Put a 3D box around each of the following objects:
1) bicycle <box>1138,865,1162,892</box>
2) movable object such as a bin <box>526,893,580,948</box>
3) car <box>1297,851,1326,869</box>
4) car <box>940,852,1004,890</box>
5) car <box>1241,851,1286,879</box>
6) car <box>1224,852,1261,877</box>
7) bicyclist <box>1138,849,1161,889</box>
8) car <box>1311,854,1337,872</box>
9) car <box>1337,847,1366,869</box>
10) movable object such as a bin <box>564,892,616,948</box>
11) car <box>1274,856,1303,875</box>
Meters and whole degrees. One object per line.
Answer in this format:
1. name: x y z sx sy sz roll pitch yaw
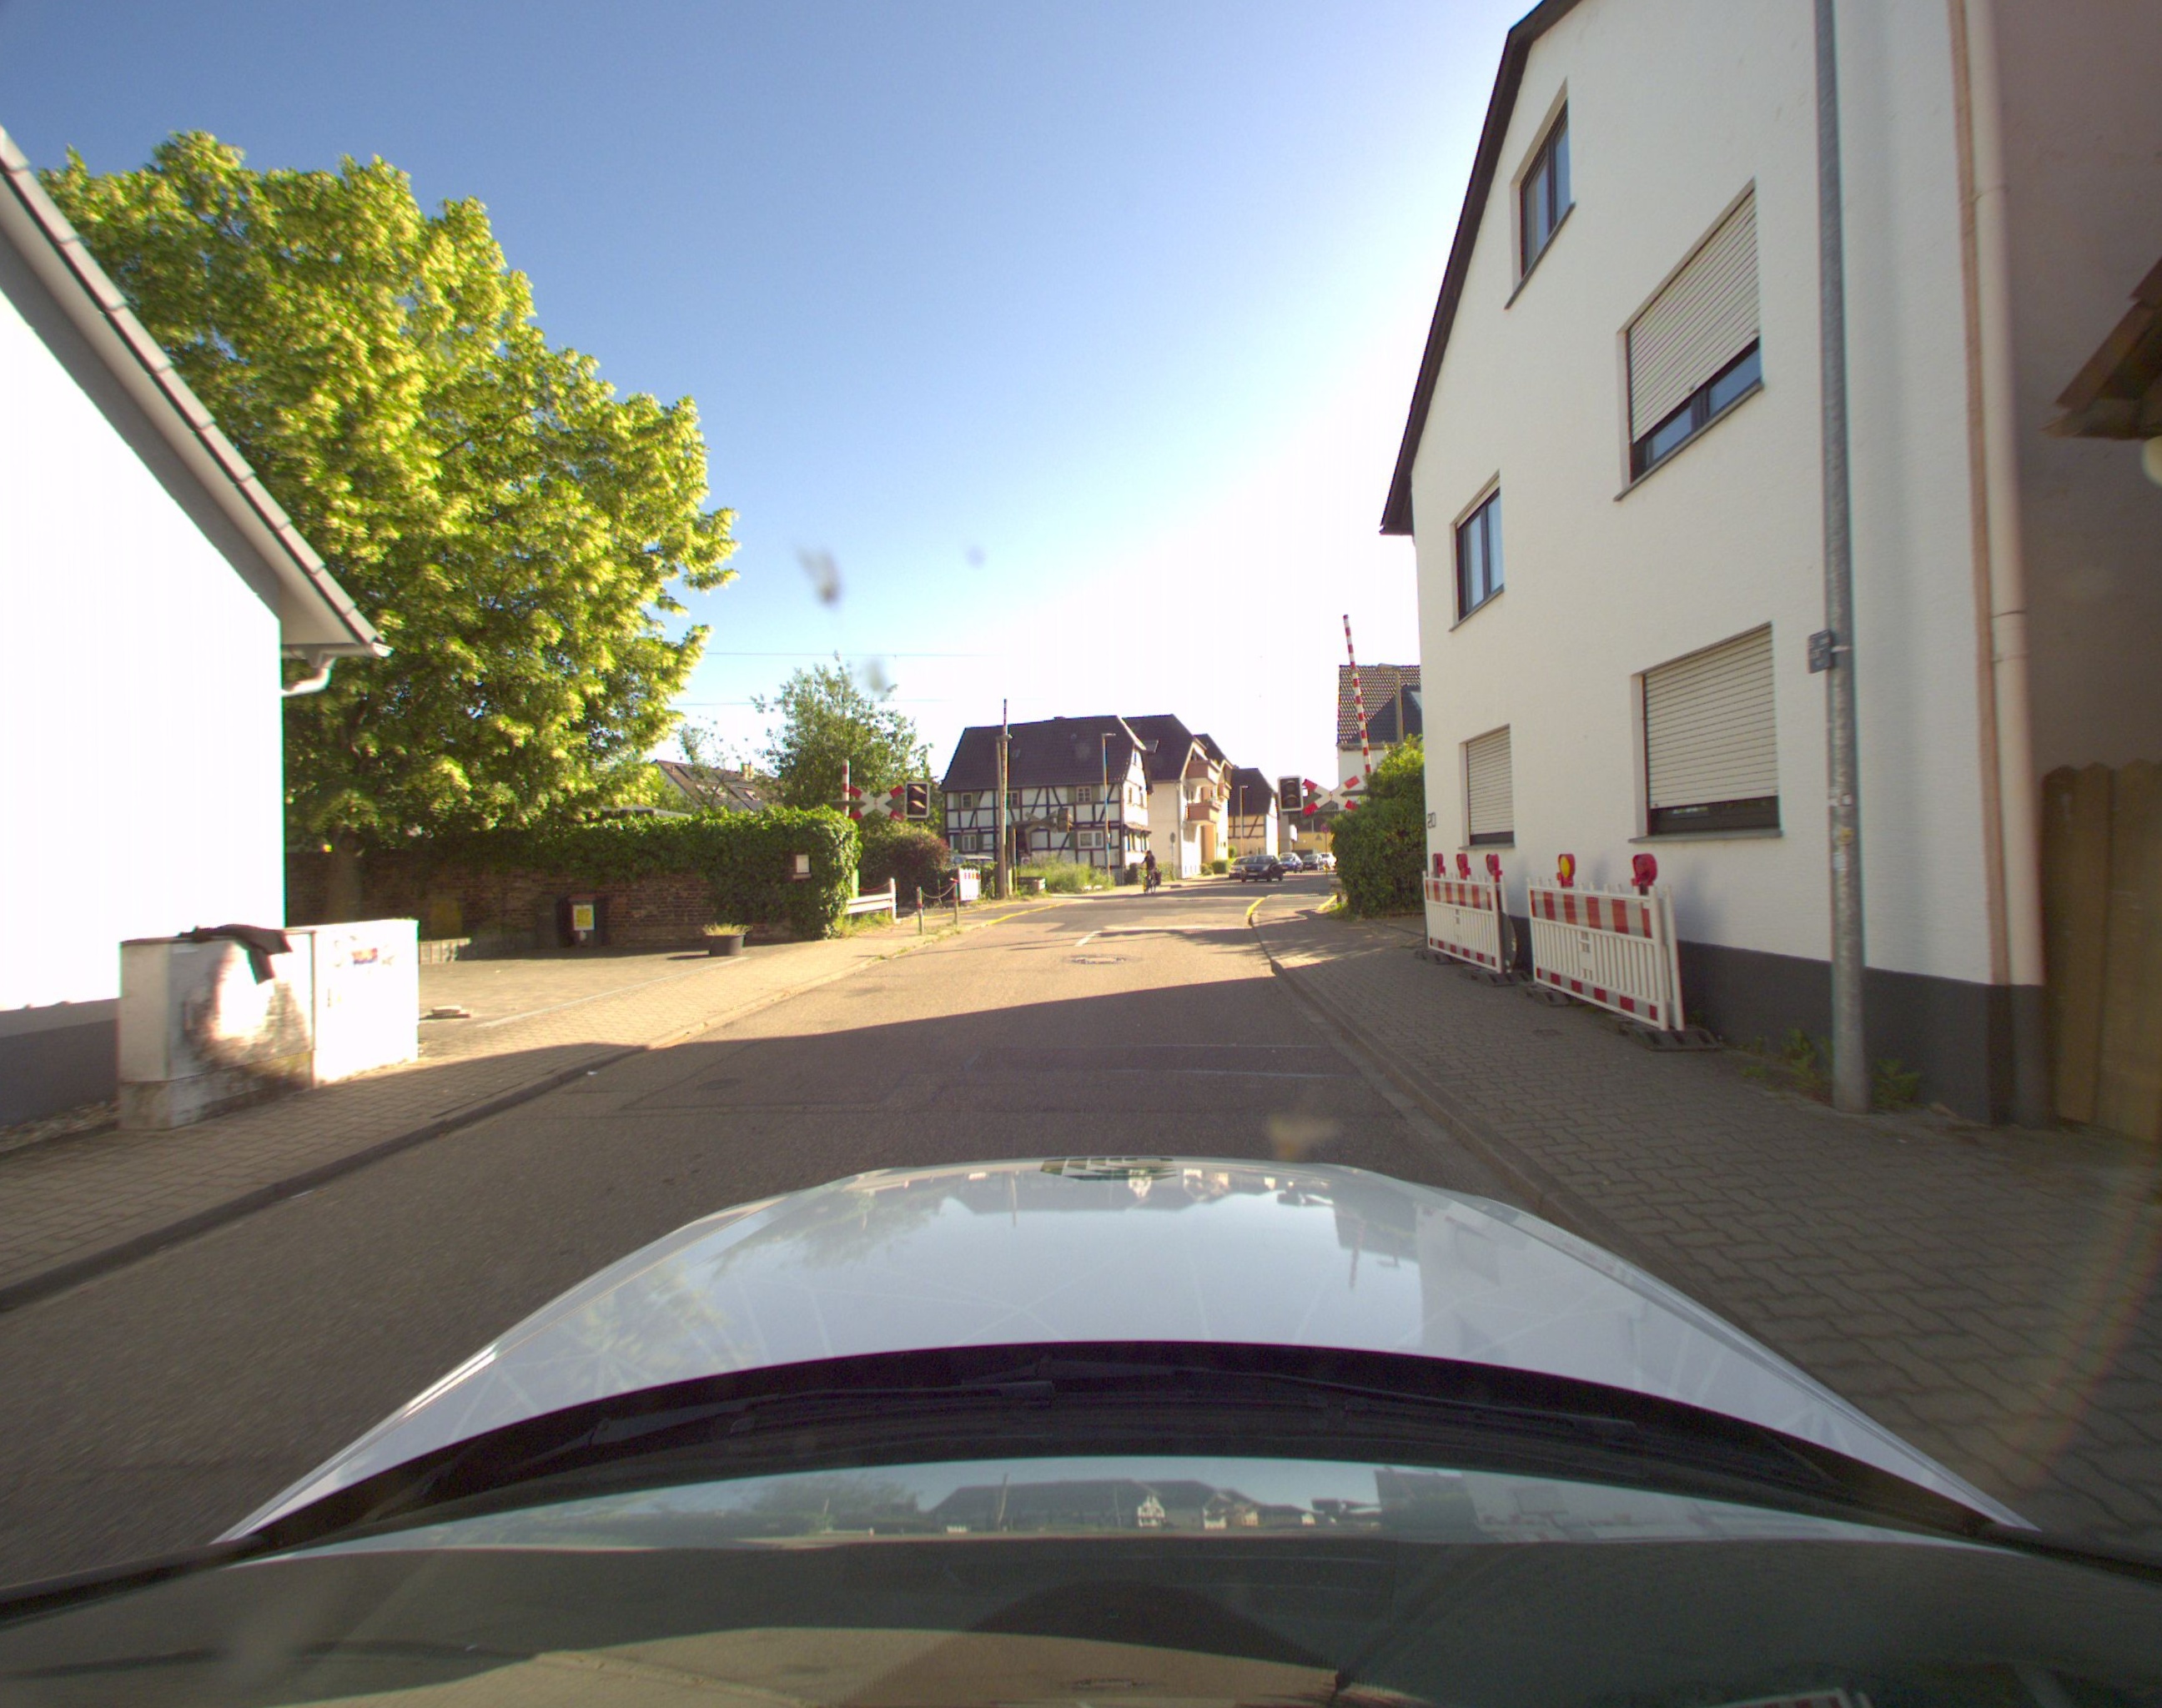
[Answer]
1. bicycle: 2.721 0.958 32.128 0.879 1.005 2.065 -2 -2 4
2. movable object such as a bin: -9.203 1.152 14.200 0.587 0.934 0.509 -1 -2 7
3. car: 21.530 0.553 75.936 1.687 1.519 4.147 -4 -2 29
4. car: -4.891 0.762 36.235 1.692 1.564 3.966 1 -1 -26
5. car: 10.351 0.645 46.142 1.670 1.510 3.675 -1 -2 26
6. car: 10.886 0.683 54.652 1.616 1.506 3.874 -5 -2 22
7. bicyclist: 2.707 0.588 32.211 0.844 1.541 0.874 -2 -2 4
8. car: 23.949 0.872 80.129 1.657 1.572 3.989 -4 -2 28
9. car: 30.491 0.461 91.677 2.057 2.394 5.240 -4 -2 30
10. movable object such as a bin: -8.568 1.144 14.226 0.587 0.934 0.509 -1 -2 7
11. car: 17.187 0.932 67.342 1.624 1.441 4.098 -3 -2 24
